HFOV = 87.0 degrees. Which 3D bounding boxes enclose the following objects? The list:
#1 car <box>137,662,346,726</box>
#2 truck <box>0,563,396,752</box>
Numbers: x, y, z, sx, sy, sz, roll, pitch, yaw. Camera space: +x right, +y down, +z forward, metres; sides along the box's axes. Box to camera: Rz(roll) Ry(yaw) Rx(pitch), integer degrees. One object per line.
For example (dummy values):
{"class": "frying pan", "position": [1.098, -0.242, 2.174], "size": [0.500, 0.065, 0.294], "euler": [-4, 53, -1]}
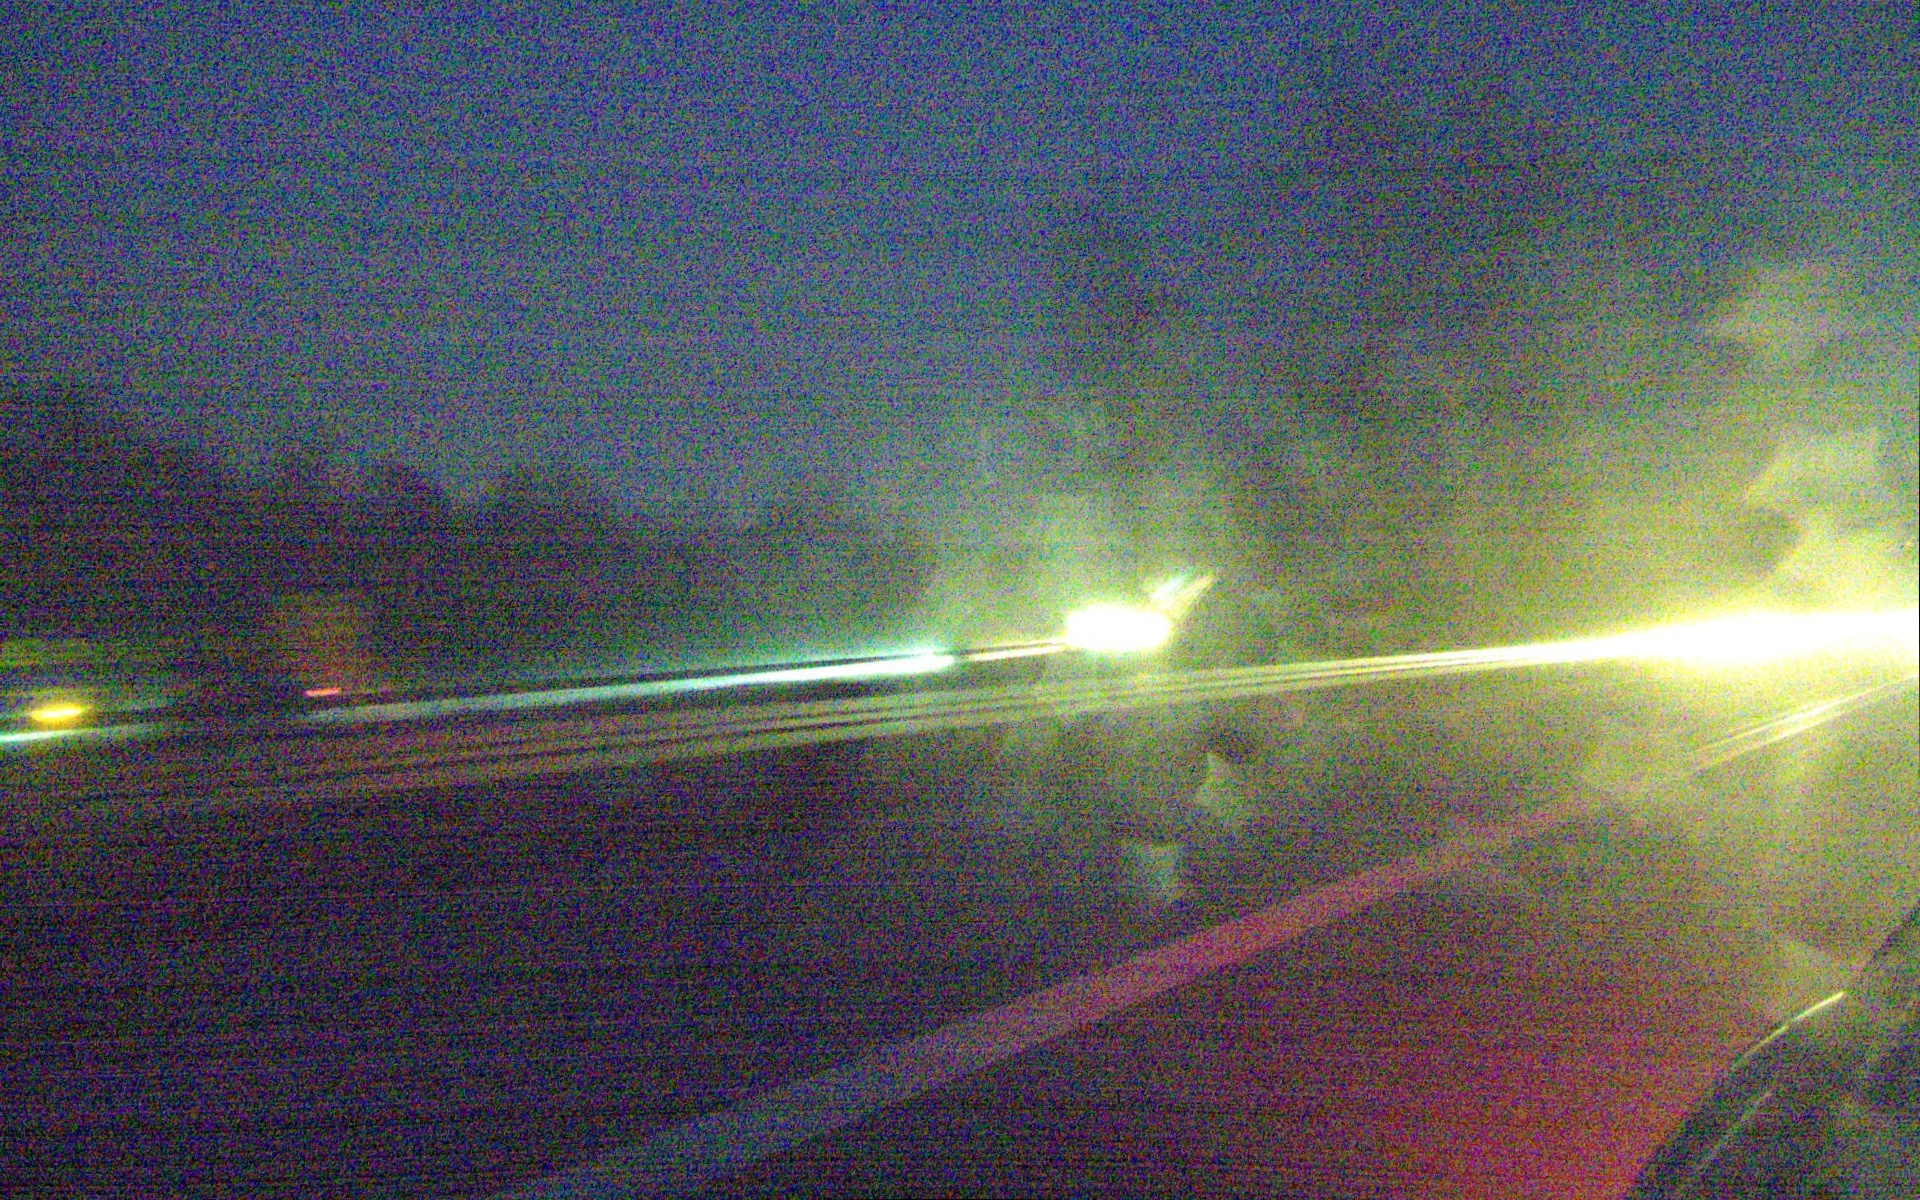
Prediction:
{"class": "car", "position": [-18.003, 2.307, 25.543], "size": [1.698, 1.311, 3.947], "euler": [0, -1, 30]}
{"class": "truck", "position": [-21.858, 1.239, 25.975], "size": [2.740, 4.275, 13.700], "euler": [-1, 1, 27]}
